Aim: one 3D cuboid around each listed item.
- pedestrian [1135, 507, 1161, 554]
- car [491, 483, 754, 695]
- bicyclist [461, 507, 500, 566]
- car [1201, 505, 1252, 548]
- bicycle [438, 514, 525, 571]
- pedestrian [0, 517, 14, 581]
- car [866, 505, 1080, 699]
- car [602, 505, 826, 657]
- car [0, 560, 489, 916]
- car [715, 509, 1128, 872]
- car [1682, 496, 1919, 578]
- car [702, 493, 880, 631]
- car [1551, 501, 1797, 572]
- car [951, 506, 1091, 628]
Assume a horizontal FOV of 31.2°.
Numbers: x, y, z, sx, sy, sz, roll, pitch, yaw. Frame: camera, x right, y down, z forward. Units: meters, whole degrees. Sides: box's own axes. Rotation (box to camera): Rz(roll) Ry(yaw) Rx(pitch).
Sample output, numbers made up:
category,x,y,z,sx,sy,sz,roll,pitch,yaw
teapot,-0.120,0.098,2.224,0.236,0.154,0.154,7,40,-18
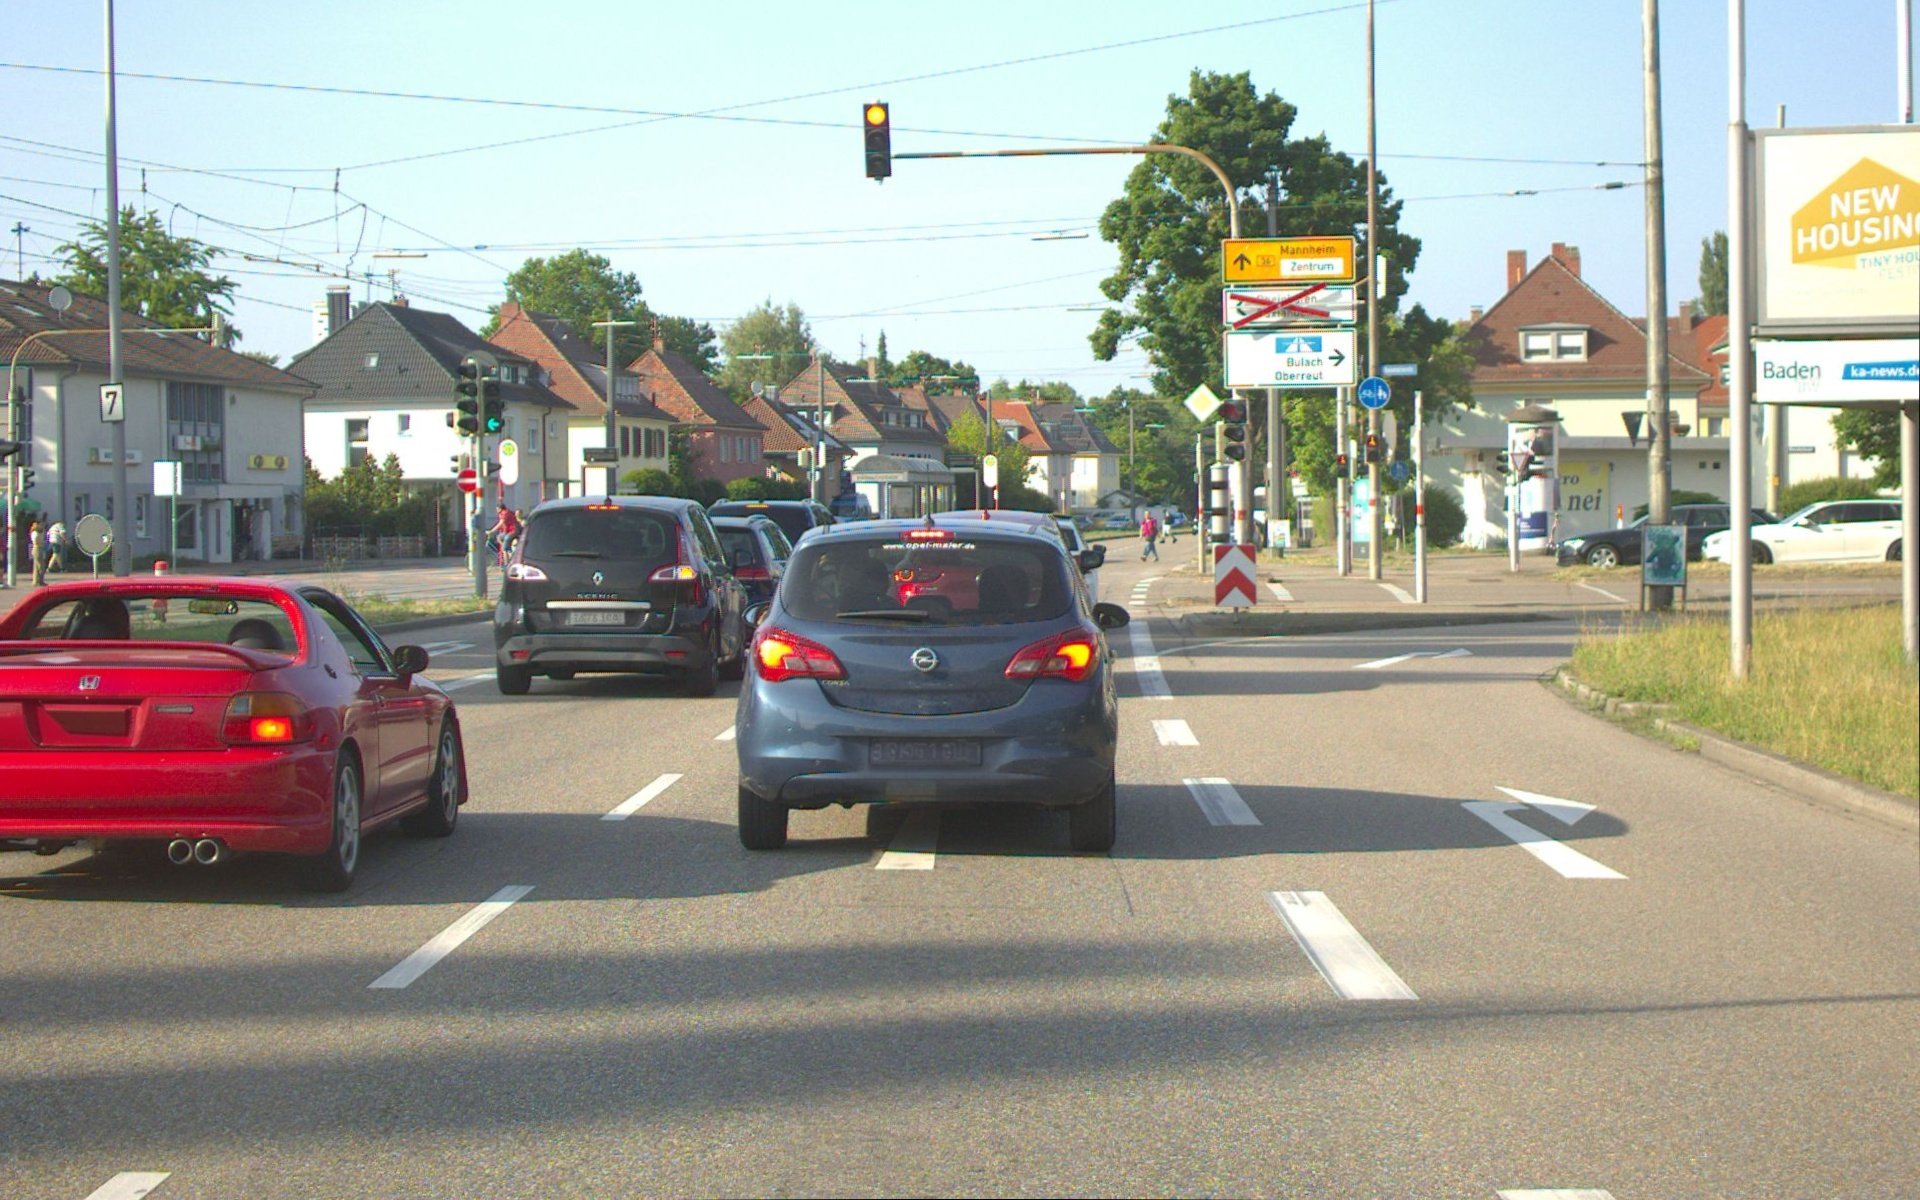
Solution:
category,x,y,z,sx,sy,sz,roll,pitch,yaw
pedestrian,6.039,-2.218,110.437,0.753,1.494,0.827,1,1,9
car,-2.785,-0.145,29.156,1.763,1.665,4.084,0,2,1
bicyclist,-11.830,-1.573,84.844,0.884,1.426,1.137,1,1,-5
car,9.036,-2.469,116.608,1.675,1.393,3.999,1,1,4
bicycle,-11.801,-1.418,84.858,2.073,1.343,1.109,1,1,-5
pedestrian,-23.969,-1.280,85.830,0.512,1.593,0.540,0,1,0
car,0.148,-0.039,29.871,1.706,1.546,3.978,-1,2,1
car,-2.543,-0.258,36.555,1.700,1.503,4.553,0,2,5
car,-3.178,0.483,14.522,1.731,1.202,3.847,1,2,2
car,-0.222,0.328,16.697,1.741,1.500,4.223,0,2,-2
car,16.932,-1.255,67.735,5.095,1.557,1.840,-1,1,5
car,-2.095,-0.522,43.904,1.507,1.645,4.743,-1,2,6
car,14.841,-1.327,71.637,4.824,1.406,1.715,-1,1,5
car,0.788,-0.445,43.153,1.656,1.438,4.014,-1,2,2
